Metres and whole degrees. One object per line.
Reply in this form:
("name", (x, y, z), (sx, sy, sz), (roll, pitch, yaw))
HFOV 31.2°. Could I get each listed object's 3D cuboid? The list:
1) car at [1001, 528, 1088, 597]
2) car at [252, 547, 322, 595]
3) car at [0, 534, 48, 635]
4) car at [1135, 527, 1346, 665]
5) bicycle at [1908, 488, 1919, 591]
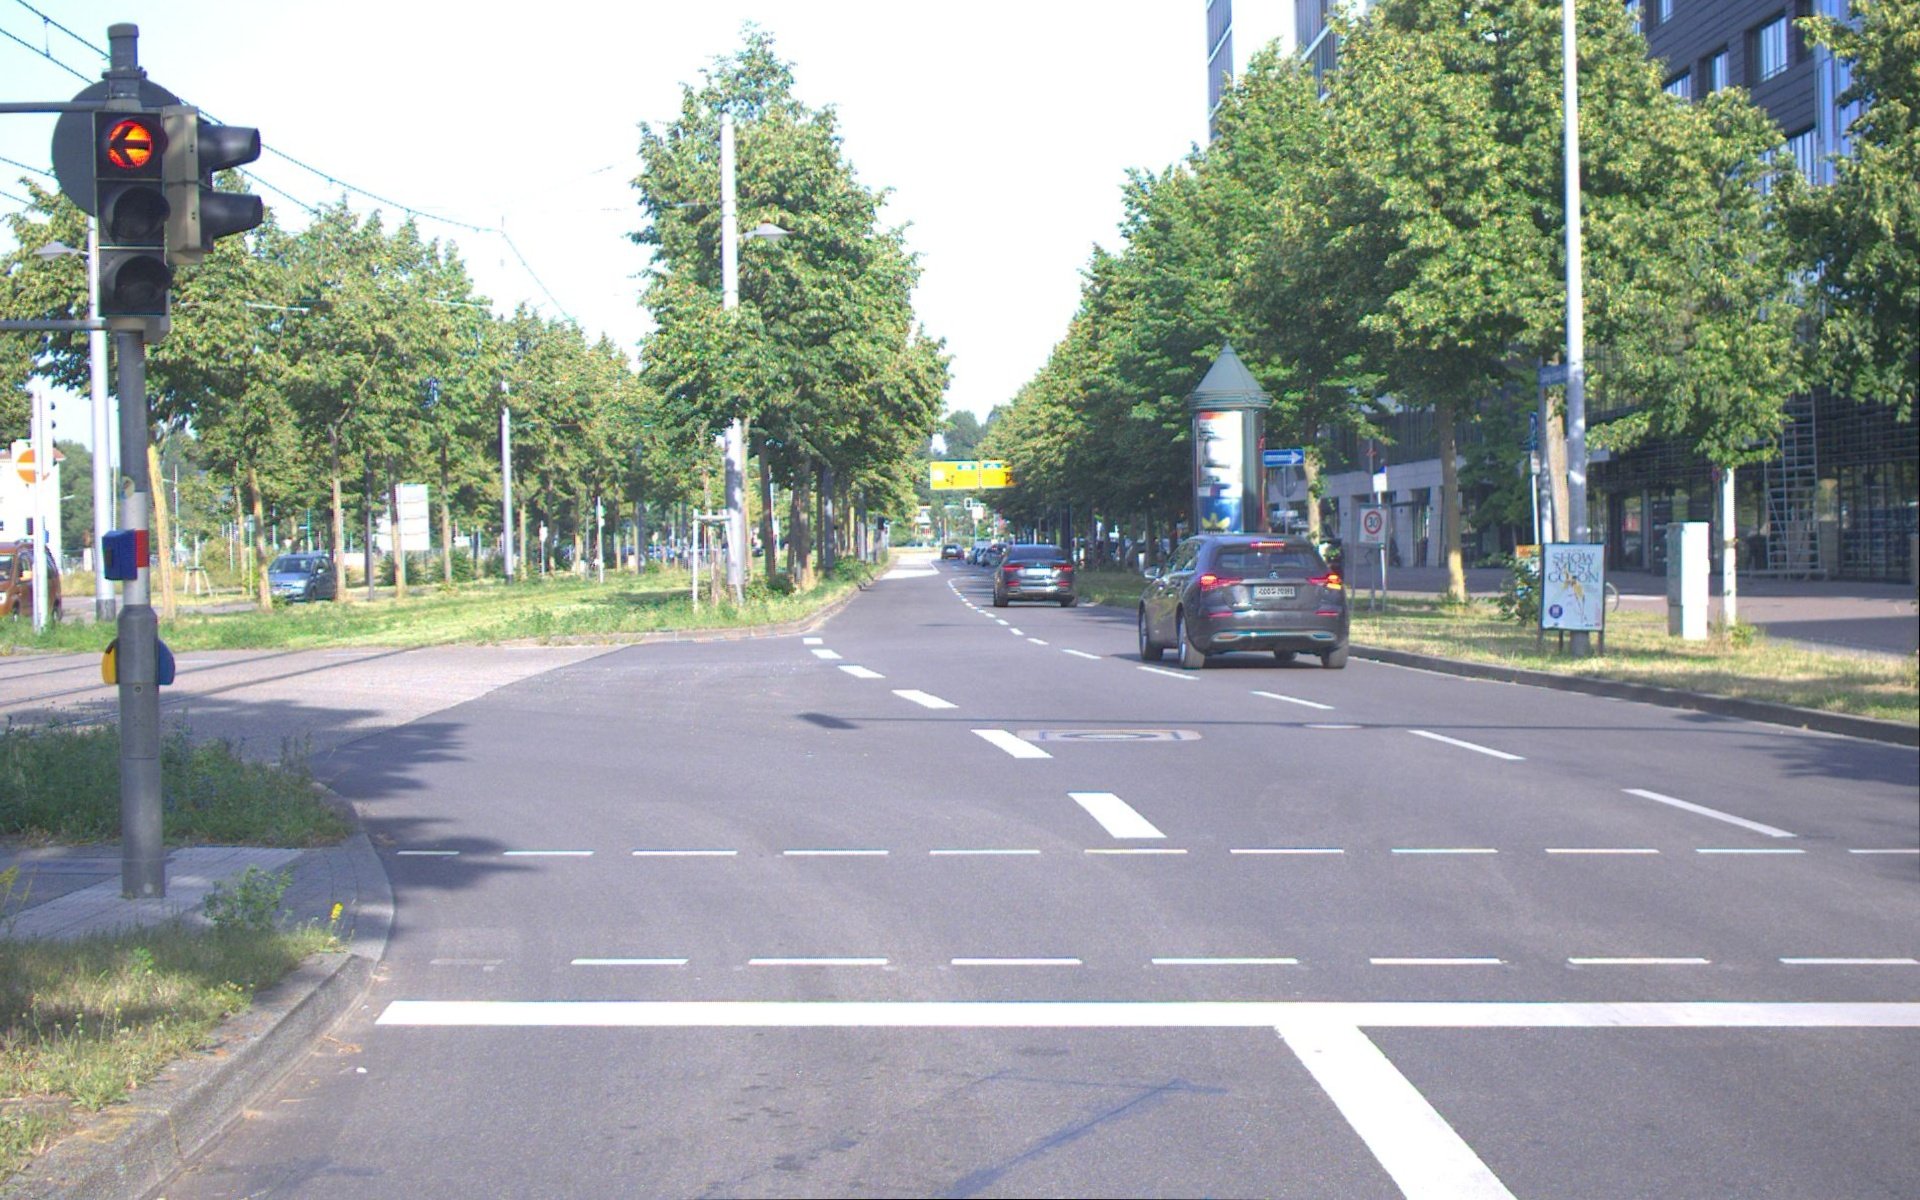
("car", (1.917, -0.865, 78.809), (1.859, 1.519, 3.786), (1, 1, 0))
("car", (-20.564, -0.893, 105.131), (1.638, 1.438, 3.957), (1, 1, -4))
("car", (-17.713, -0.307, 62.122), (1.684, 1.769, 3.883), (1, 1, -4))
("car", (3.030, -0.068, 37.836), (1.774, 1.419, 3.961), (1, 1, -3))
("bicycle", (18.436, -1.074, 61.869), (2.565, 1.851, 0.569), (1, 1, 9))
